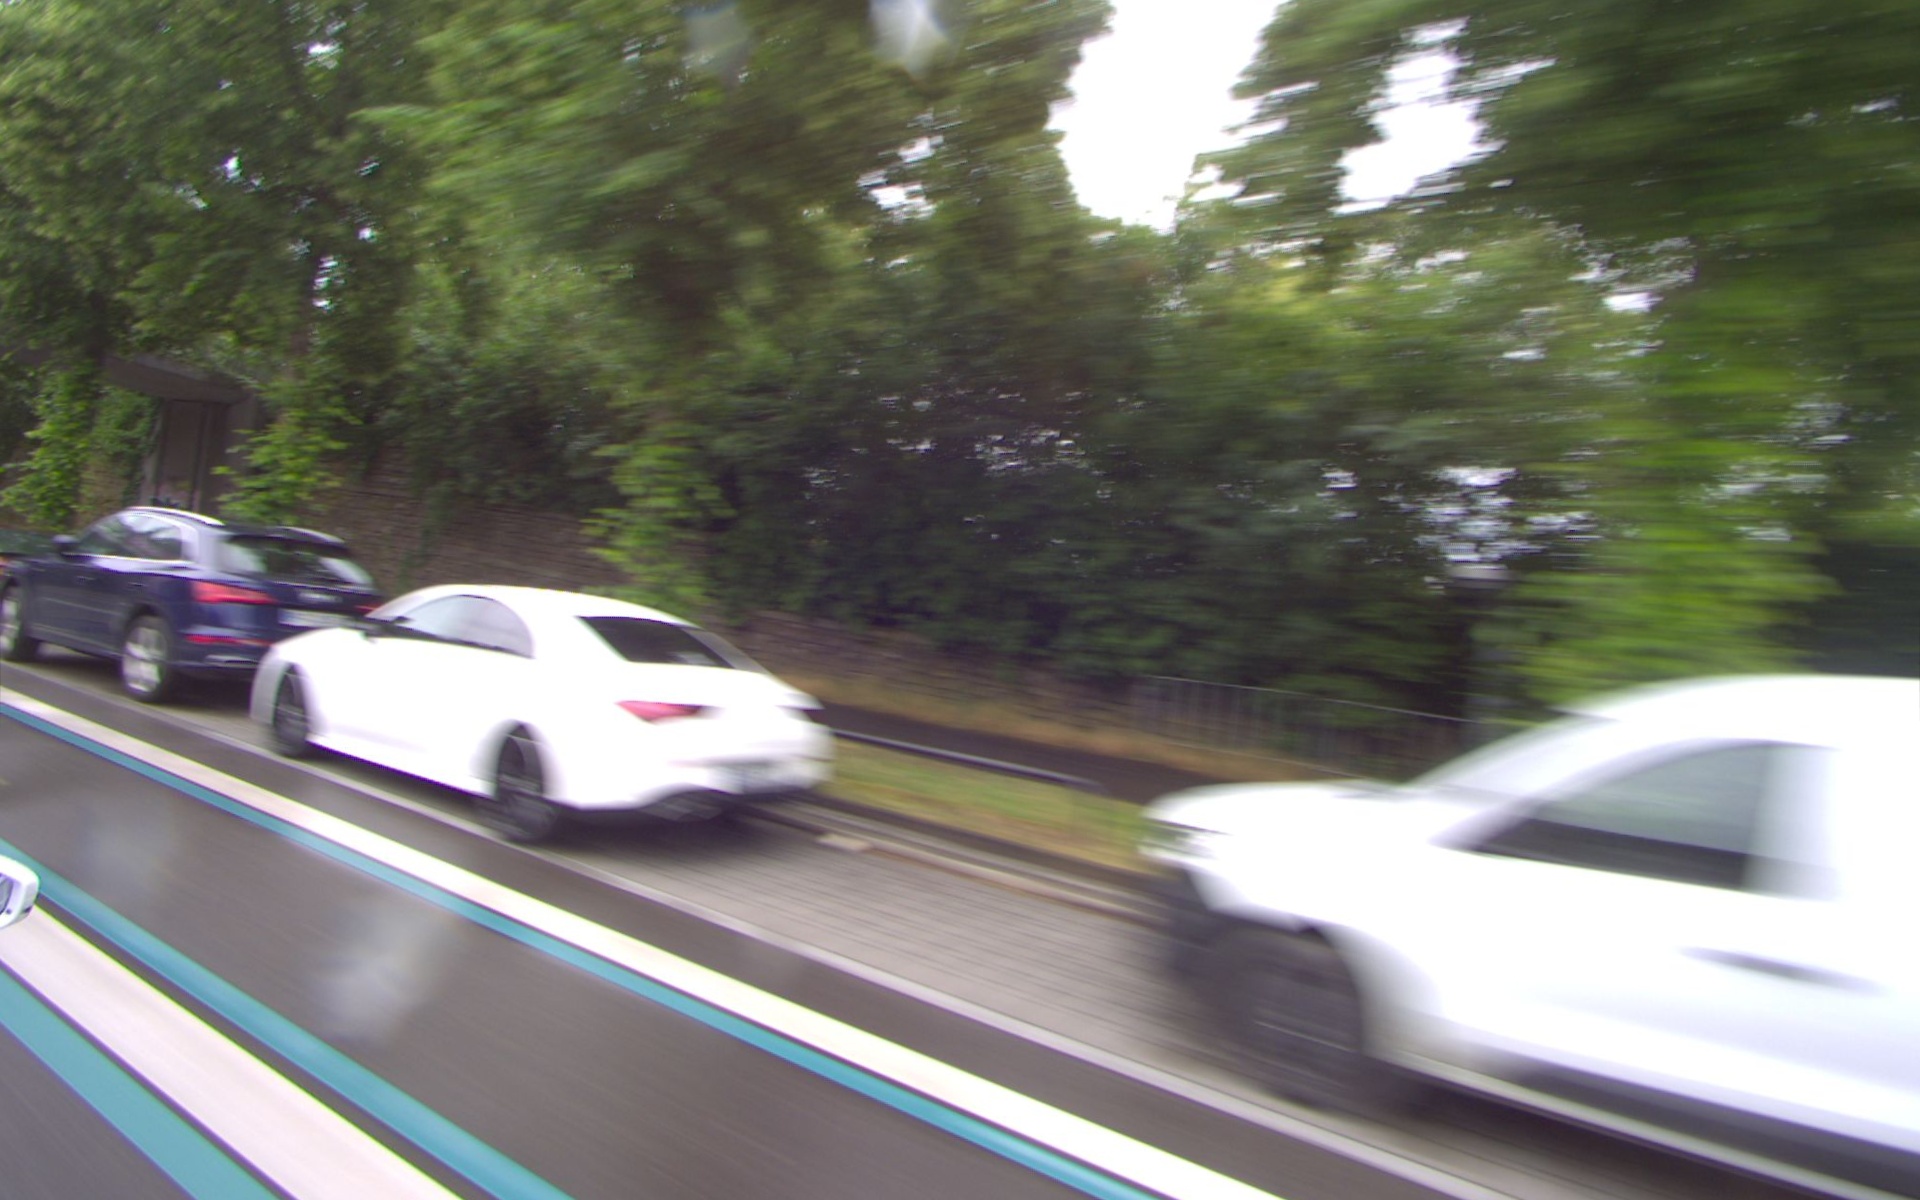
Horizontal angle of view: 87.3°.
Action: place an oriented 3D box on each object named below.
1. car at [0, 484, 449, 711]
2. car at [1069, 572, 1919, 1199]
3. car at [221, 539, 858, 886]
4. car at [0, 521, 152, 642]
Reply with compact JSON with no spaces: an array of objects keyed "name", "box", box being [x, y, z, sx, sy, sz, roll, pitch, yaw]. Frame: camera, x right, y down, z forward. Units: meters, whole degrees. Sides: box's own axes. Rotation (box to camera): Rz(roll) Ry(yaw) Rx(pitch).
[{"name":"car","box":[-7.537,-0.062,9.997,4.562,1.578,1.999,7,-2,28]},{"name":"car","box":[2.803,1.103,3.682,4.272,1.811,1.726,7,-1,31]},{"name":"car","box":[-3.095,0.584,7.040,4.541,1.443,1.663,7,-2,32]},{"name":"car","box":[-12.472,-0.374,13.059,4.112,1.203,1.629,7,-2,30]}]
